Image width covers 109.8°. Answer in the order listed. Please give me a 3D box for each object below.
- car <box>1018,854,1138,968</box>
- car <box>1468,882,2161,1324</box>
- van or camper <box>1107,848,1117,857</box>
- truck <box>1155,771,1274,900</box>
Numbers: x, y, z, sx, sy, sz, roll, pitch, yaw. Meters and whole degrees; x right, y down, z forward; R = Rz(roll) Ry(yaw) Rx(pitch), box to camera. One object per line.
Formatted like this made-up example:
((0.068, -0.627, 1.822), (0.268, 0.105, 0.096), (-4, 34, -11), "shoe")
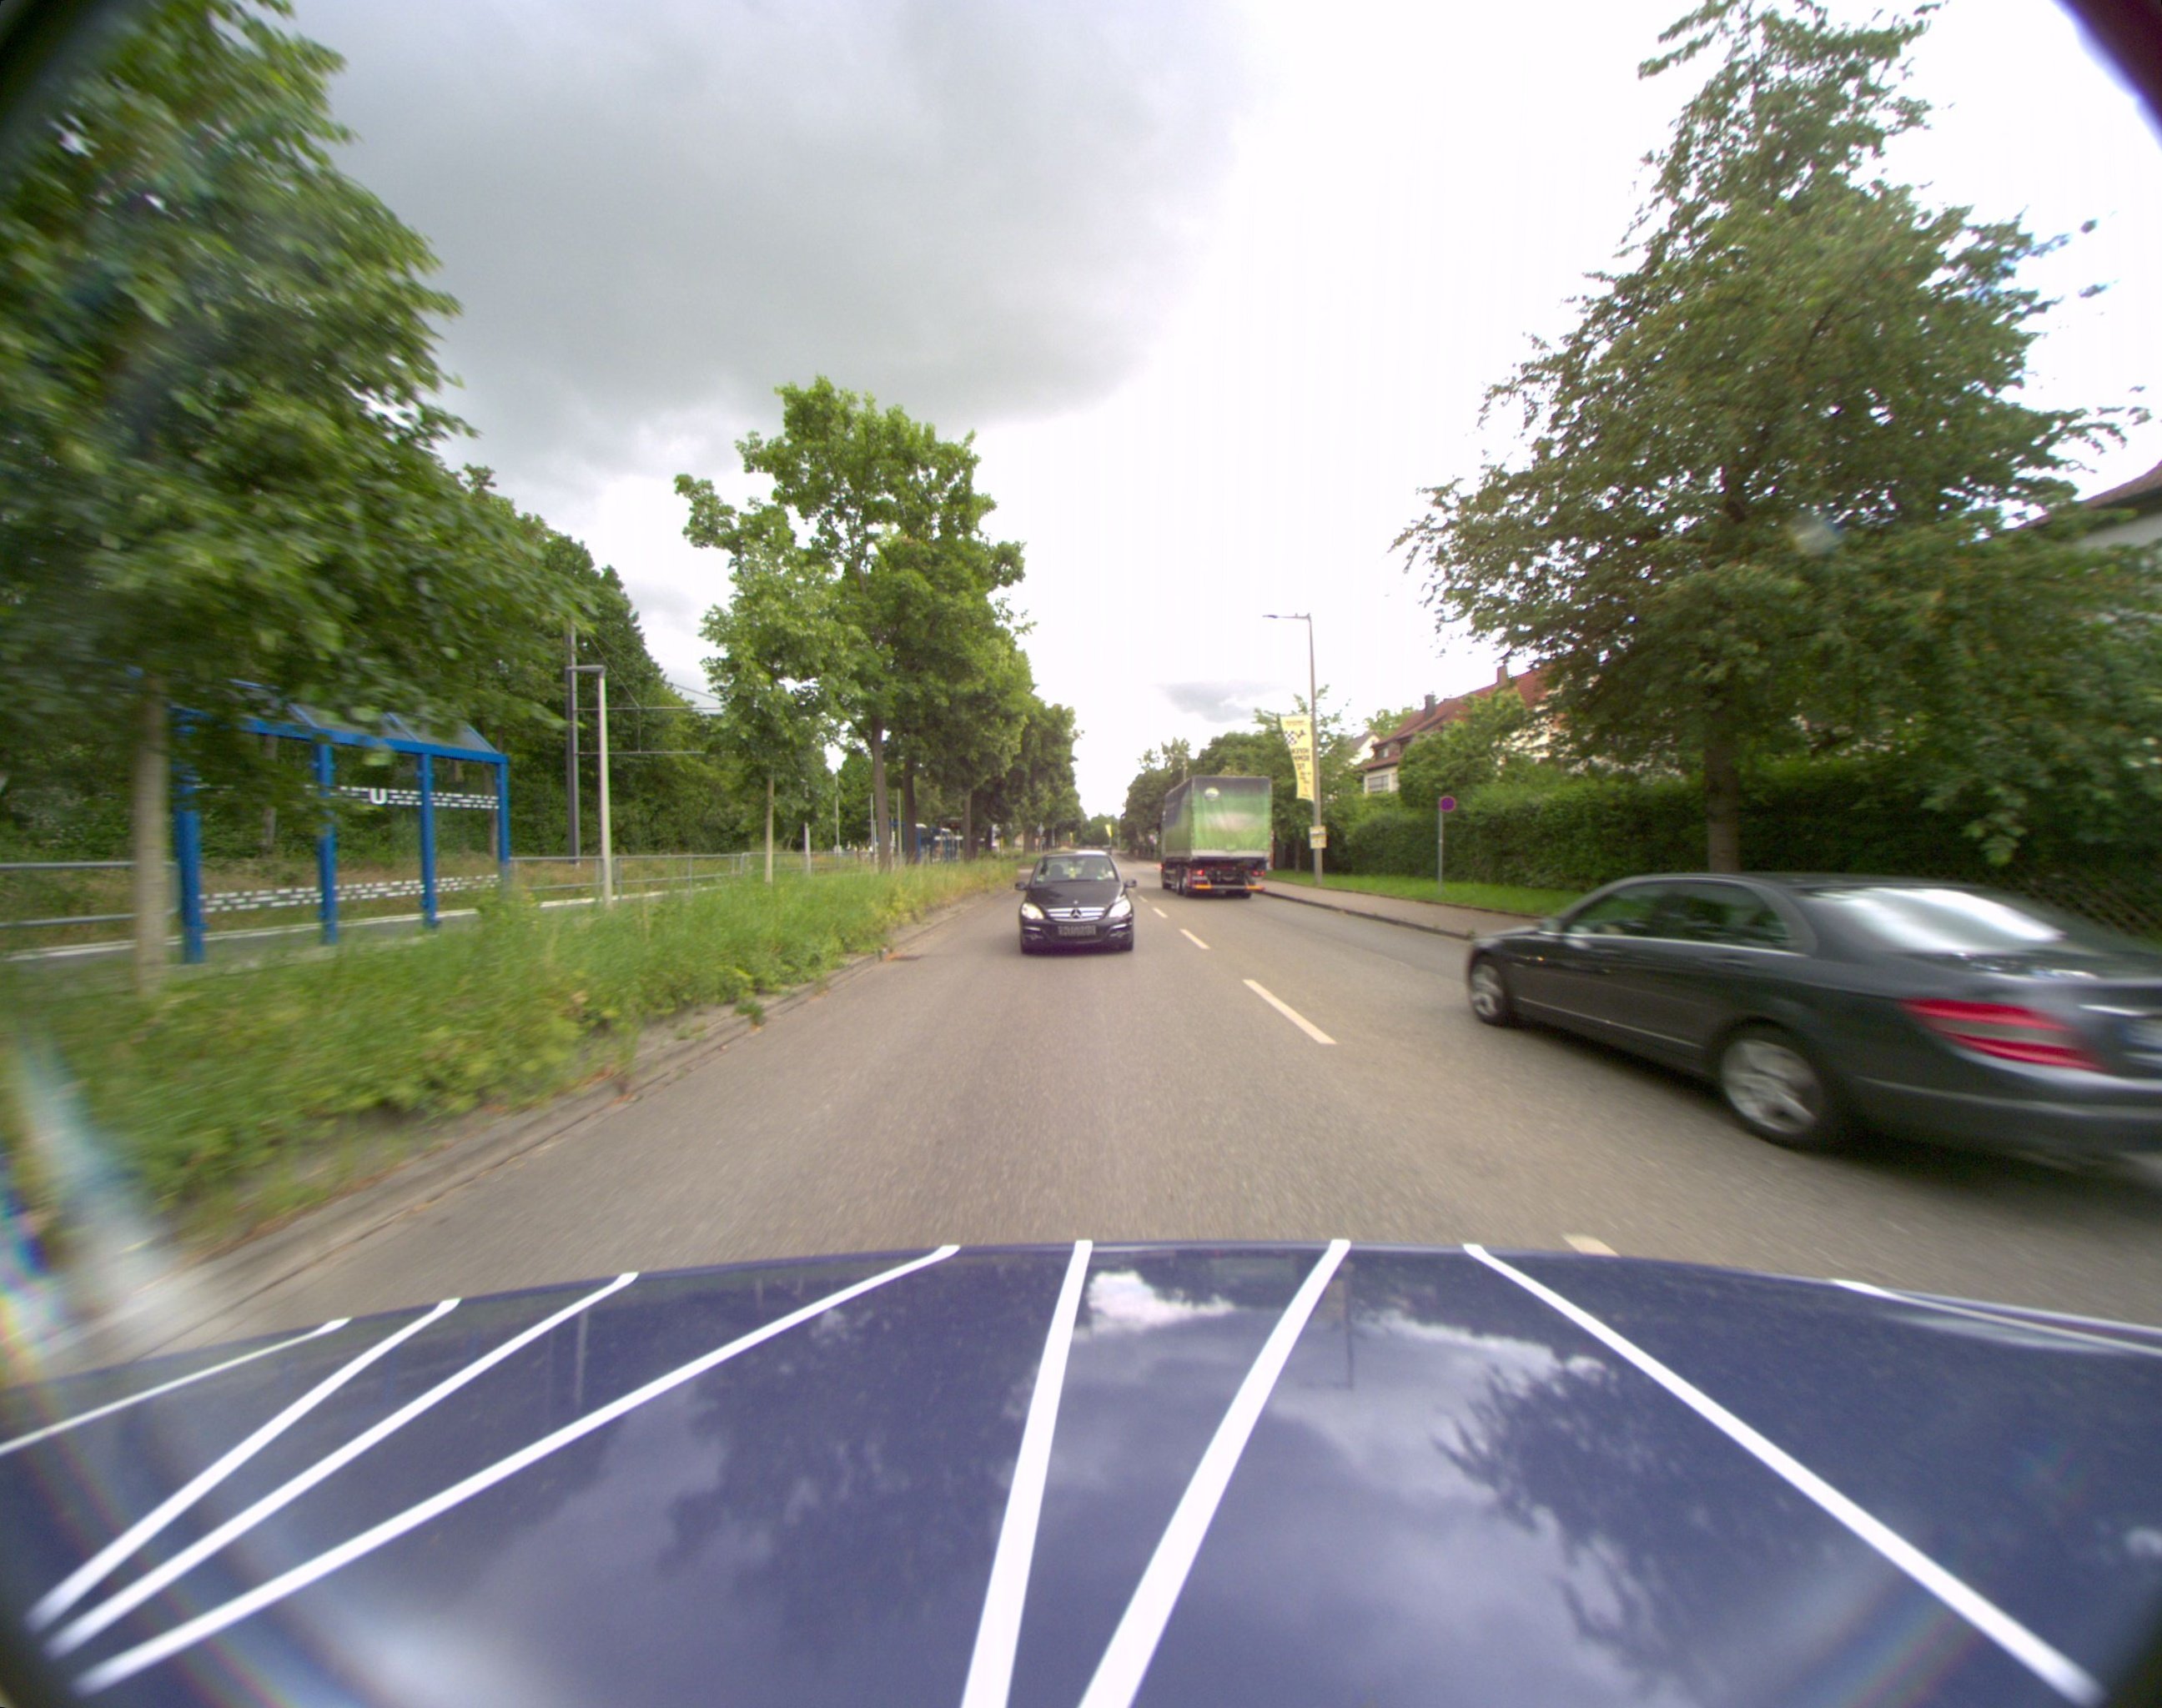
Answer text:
((-0.049, 0.828, 13.282), (1.683, 1.565, 4.482), (-2, 1, 0), "car")
((4.406, 0.963, 4.789), (1.737, 1.367, 4.239), (1, 0, 0), "car")
((6.774, -0.433, 164.560), (1.918, 1.888, 4.811), (-1, 0, 0), "van or camper")
((4.719, -0.662, 29.332), (2.556, 4.021, 10.617), (1, 1, 0), "truck")
